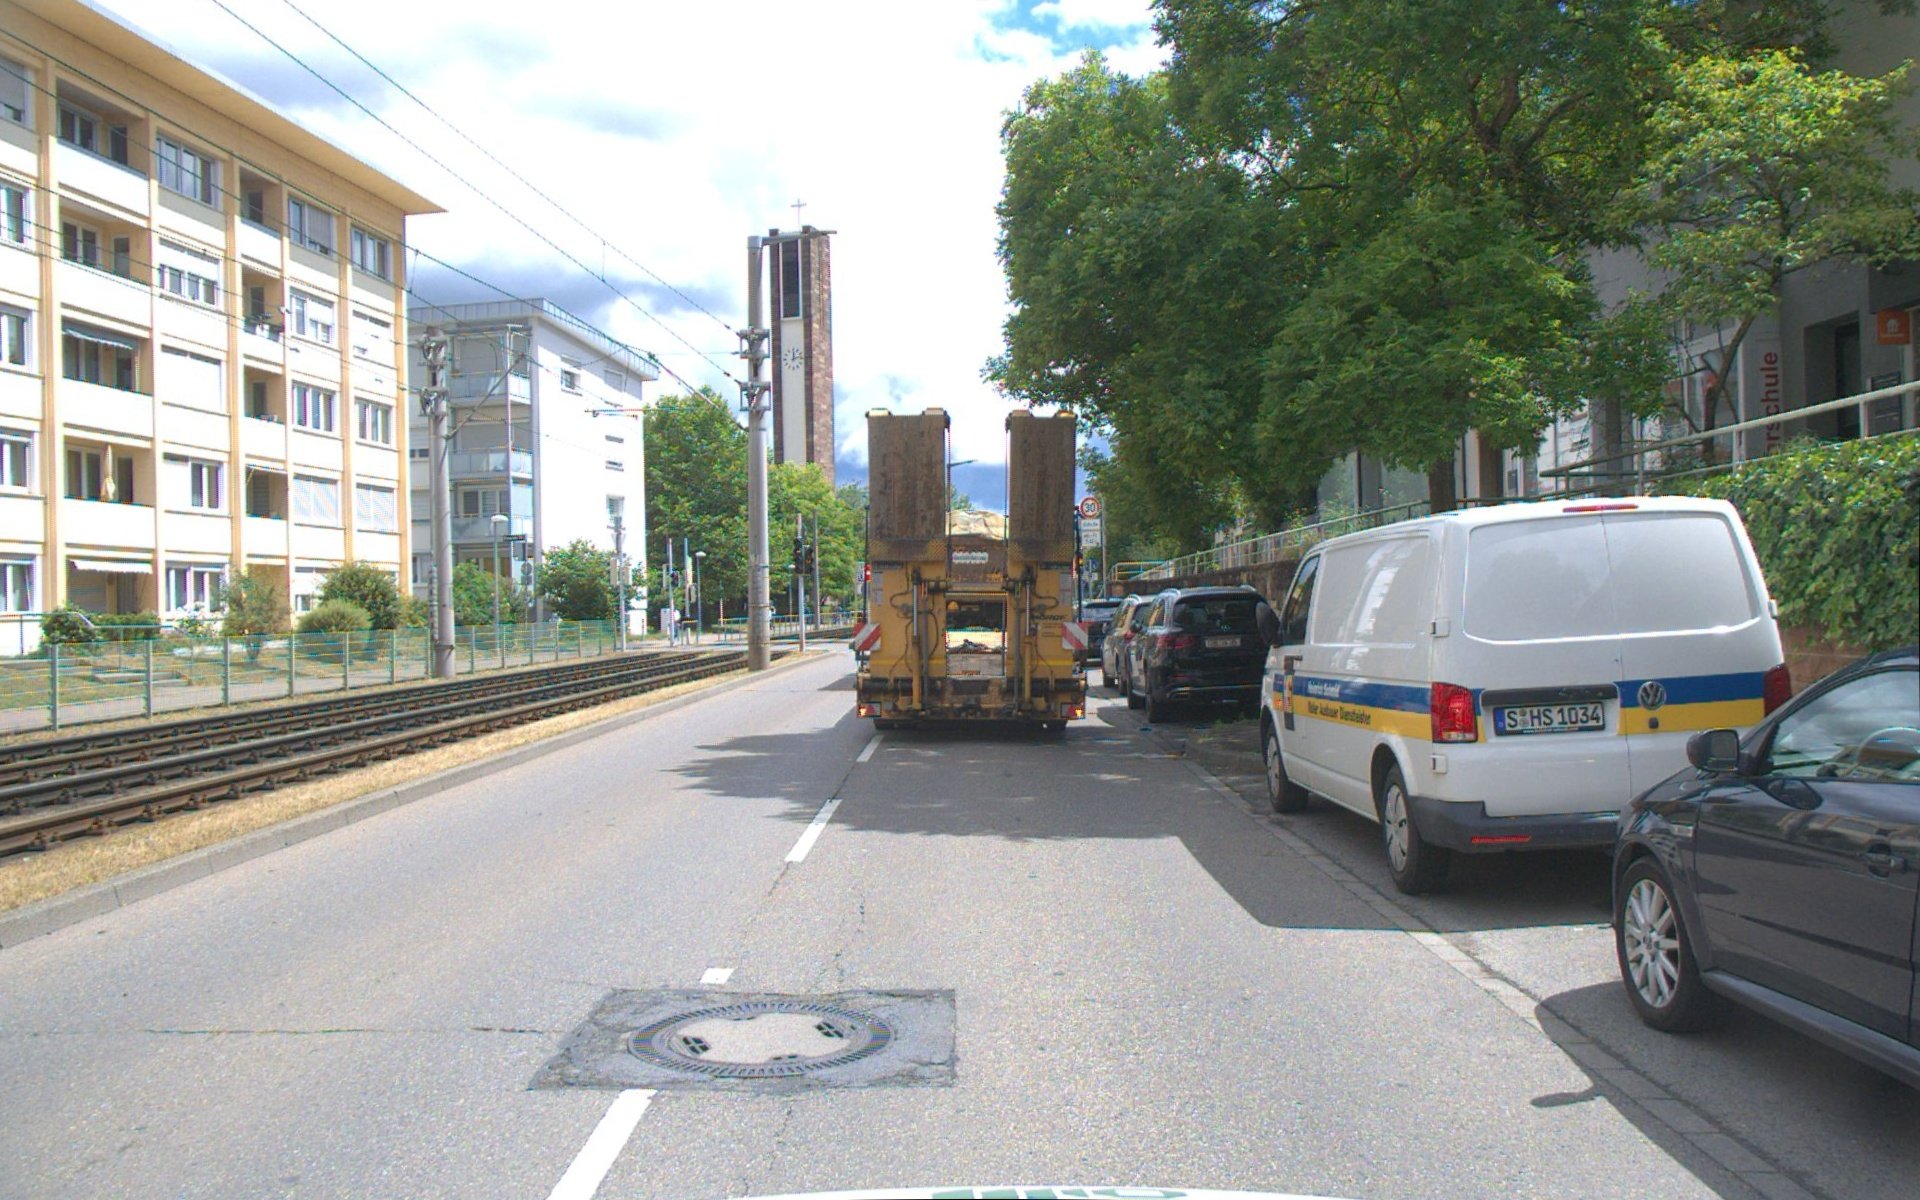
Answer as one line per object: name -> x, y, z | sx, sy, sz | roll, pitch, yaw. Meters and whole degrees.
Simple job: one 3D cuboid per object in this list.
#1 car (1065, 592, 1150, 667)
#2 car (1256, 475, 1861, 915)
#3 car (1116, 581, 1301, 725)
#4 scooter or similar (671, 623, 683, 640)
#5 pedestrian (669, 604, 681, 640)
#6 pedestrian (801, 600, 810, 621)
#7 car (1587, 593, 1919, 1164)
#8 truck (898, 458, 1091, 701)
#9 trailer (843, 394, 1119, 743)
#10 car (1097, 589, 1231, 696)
car -> 3.547, 0.695, 40.383 | 1.812, 1.668, 4.001 | -2, 0, 2
car -> 3.209, 0.446, 10.139 | 1.932, 2.004, 5.013 | -1, 0, 1
car -> 3.190, 0.644, 22.071 | 1.753, 1.646, 4.447 | -3, 0, 0
scooter or similar -> -12.545, 1.406, 73.257 | 0.428, 0.760, 0.475 | 0, 0, 6
pedestrian -> -12.699, 0.978, 73.755 | 0.428, 1.608, 0.475 | 0, -1, 5
pedestrian -> -11.094, 0.760, 118.918 | 0.552, 1.540, 0.646 | 1, -1, 0
car -> 3.217, 0.702, 4.626 | 1.541, 1.453, 3.735 | -1, 0, 1
truck -> 0.587, -0.298, 27.207 | 2.881, 3.635, 4.878 | 0, 0, 2
trailer -> 0.382, -0.315, 21.766 | 2.884, 3.664, 8.686 | 0, 0, 2
car -> 3.434, 0.682, 28.563 | 1.753, 1.646, 4.248 | -2, 0, 0
